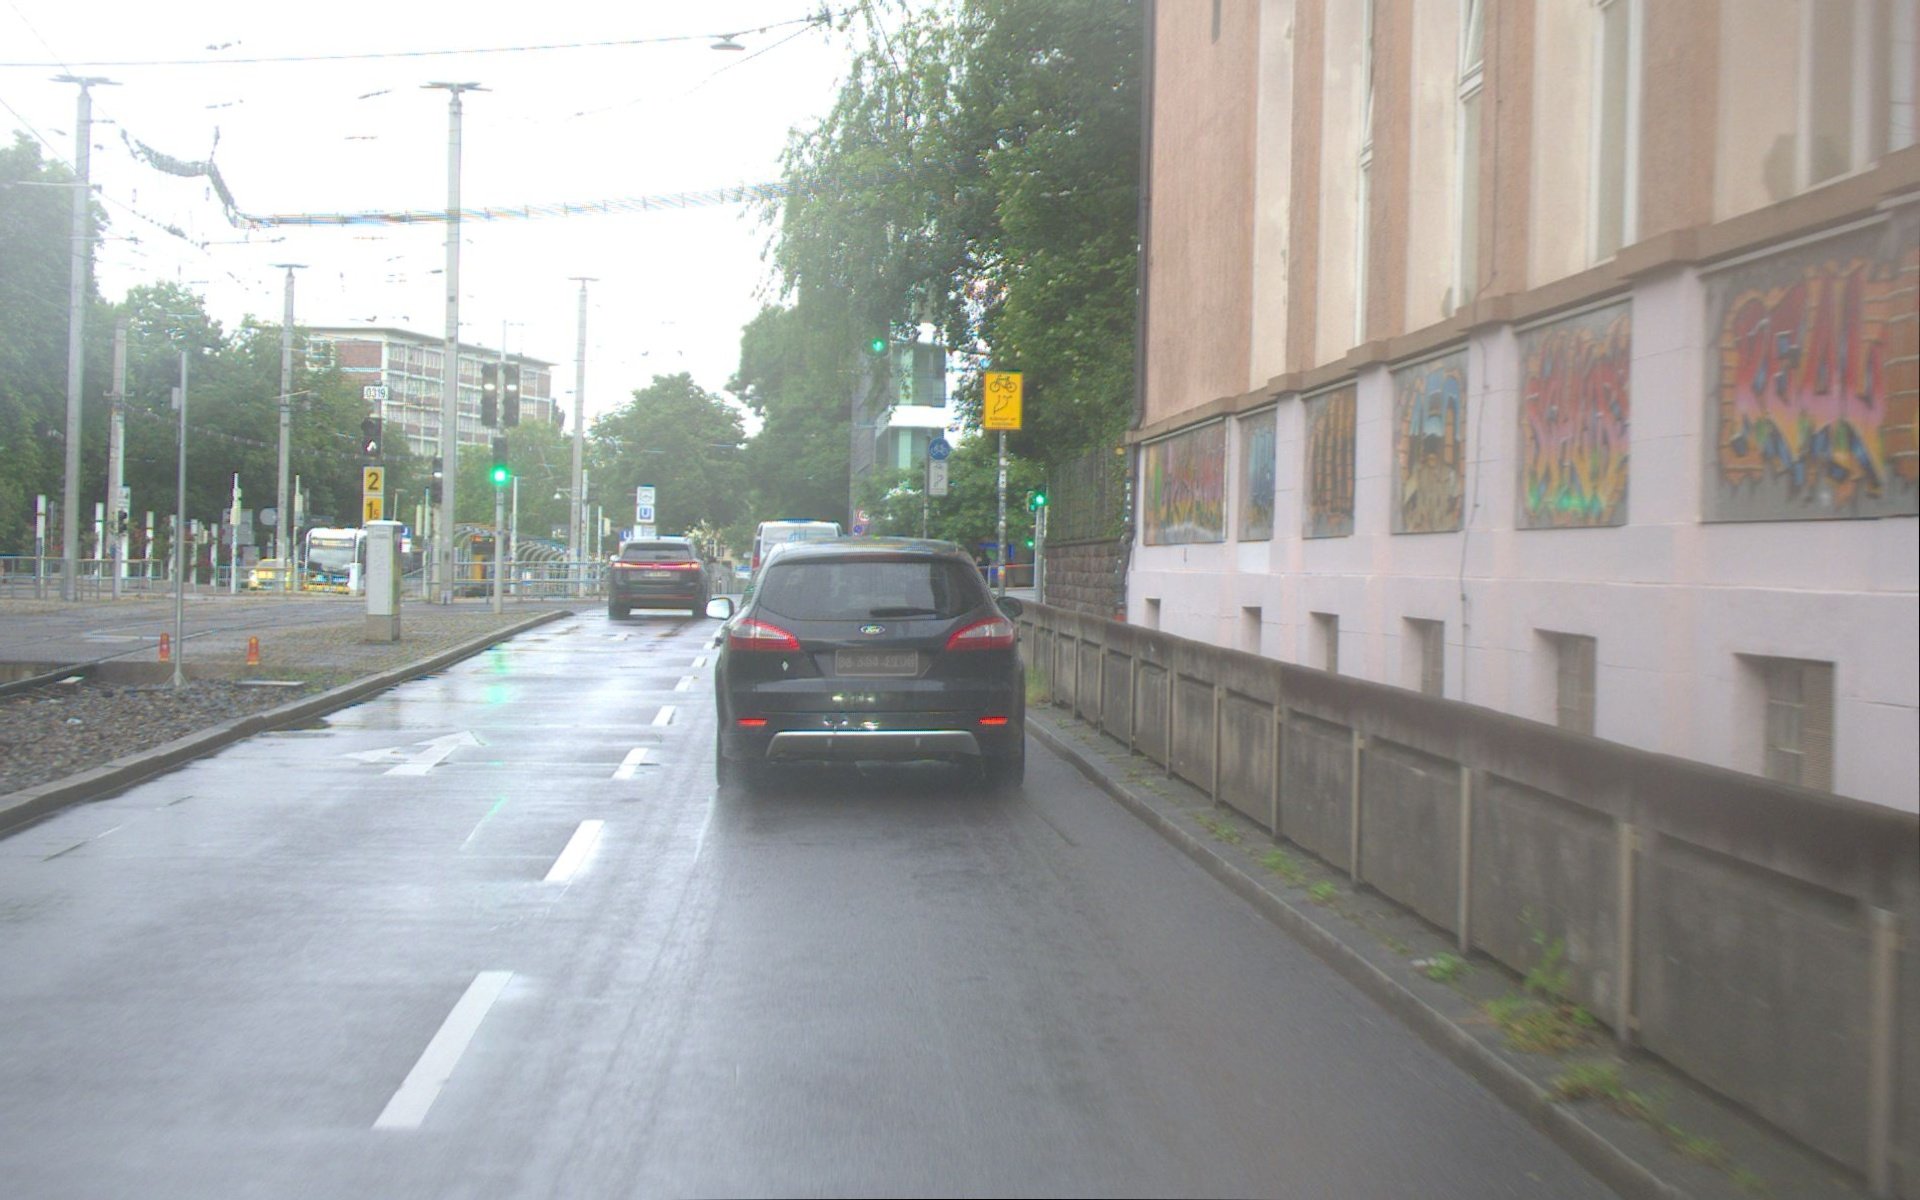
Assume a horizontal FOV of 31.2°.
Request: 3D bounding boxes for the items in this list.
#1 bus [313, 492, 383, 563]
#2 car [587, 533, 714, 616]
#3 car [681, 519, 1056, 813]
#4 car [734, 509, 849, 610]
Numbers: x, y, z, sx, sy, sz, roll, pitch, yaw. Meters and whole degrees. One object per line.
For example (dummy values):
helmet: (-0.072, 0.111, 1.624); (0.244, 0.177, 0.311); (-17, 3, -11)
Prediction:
bus: (-29.215, -3.429, 164.460); (3.076, 3.289, 12.526); (0, 1, -9)
car: (-5.828, -0.502, 65.187); (2.098, 1.500, 4.732); (0, 1, -2)
car: (-0.611, 0.320, 21.185); (2.035, 1.579, 4.393); (1, 1, -3)
car: (-3.225, -0.806, 66.592); (2.036, 1.833, 4.392); (1, 1, -1)
